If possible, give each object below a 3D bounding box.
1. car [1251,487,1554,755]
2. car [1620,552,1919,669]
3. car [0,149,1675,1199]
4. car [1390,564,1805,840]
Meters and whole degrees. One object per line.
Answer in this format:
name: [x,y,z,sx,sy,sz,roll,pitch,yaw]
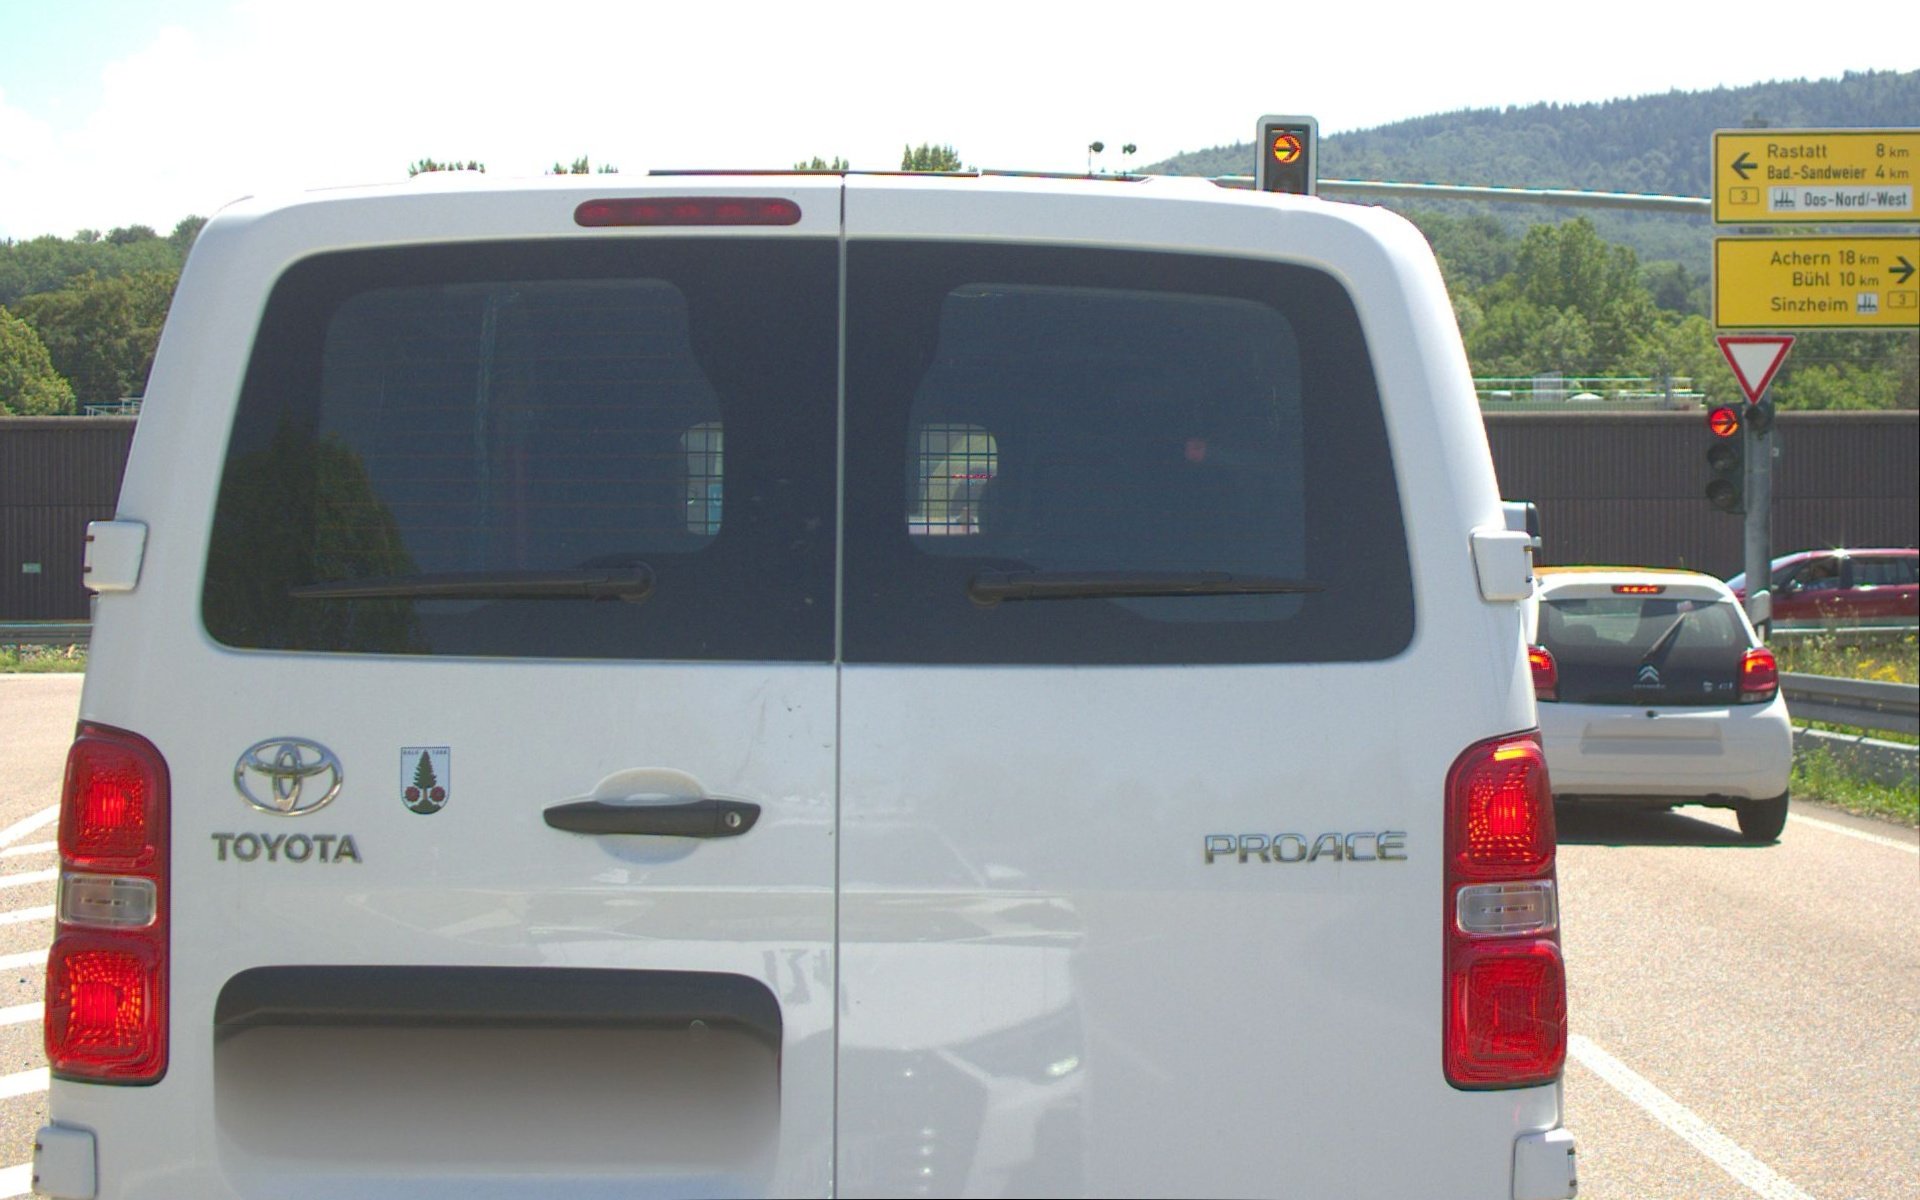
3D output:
car: [3.526,0.132,28.210,1.928,1.993,4.837,1,1,1]
car: [11.948,0.136,49.834,4.309,1.651,2.000,0,1,-3]
car: [-0.222,0.445,5.704,1.886,1.880,4.000,1,1,-1]
car: [3.546,0.517,19.656,1.656,1.426,3.366,1,1,-1]
